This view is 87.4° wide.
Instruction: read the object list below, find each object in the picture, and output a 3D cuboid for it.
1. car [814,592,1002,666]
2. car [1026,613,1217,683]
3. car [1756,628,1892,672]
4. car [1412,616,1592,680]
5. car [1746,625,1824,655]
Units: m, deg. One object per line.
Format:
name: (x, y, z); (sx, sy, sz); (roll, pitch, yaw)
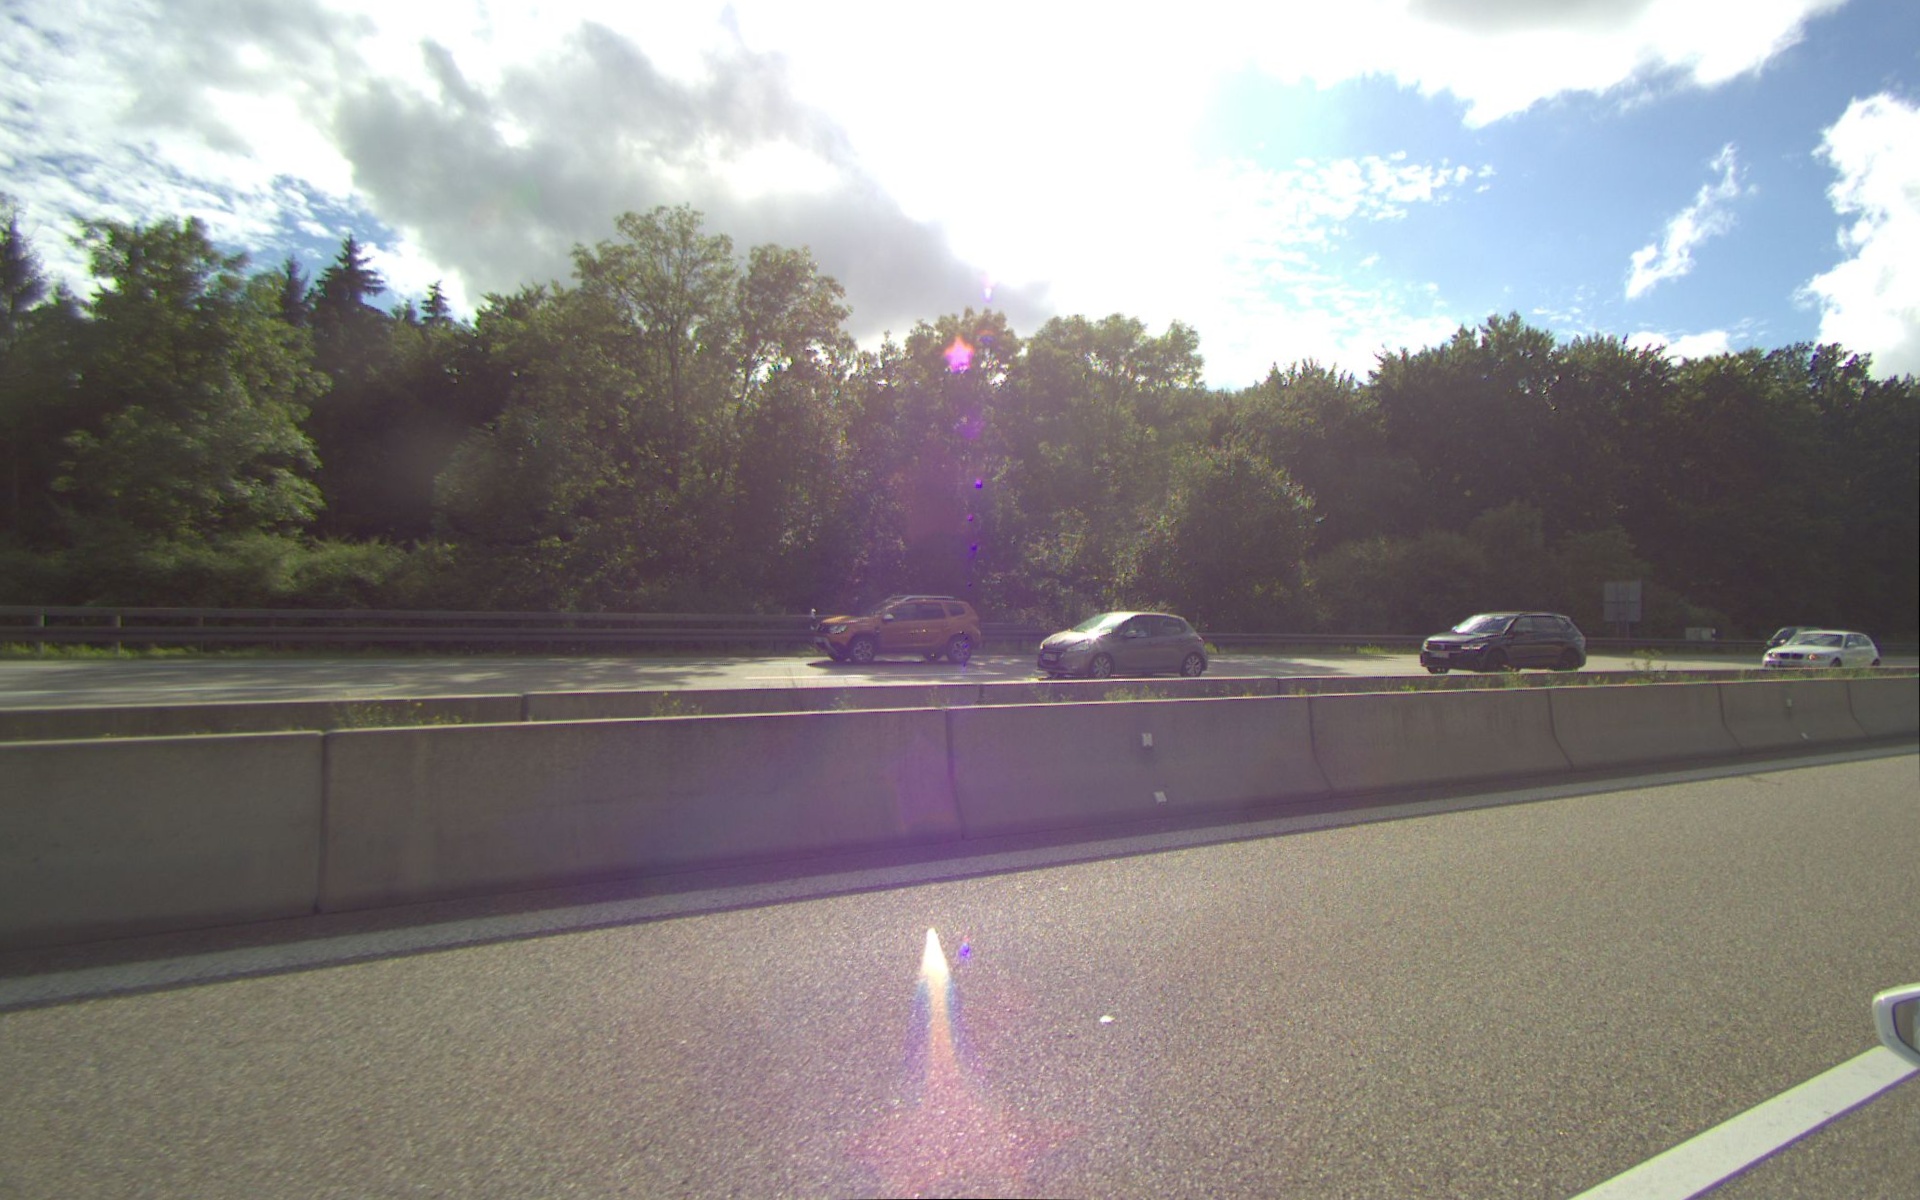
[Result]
car: (-1.307, 0.738, 25.477); (4.366, 1.739, 1.921); (1, 0, -27)
car: (3.506, 1.001, 21.585); (3.955, 1.372, 1.628); (1, 0, -31)
car: (26.235, 1.495, 30.488); (4.384, 1.216, 1.641); (1, 0, -28)
car: (13.896, 1.215, 25.718); (4.569, 1.499, 1.716); (1, 0, -26)
car: (36.239, 1.755, 44.106); (3.228, 1.228, 1.488); (1, 0, -28)
